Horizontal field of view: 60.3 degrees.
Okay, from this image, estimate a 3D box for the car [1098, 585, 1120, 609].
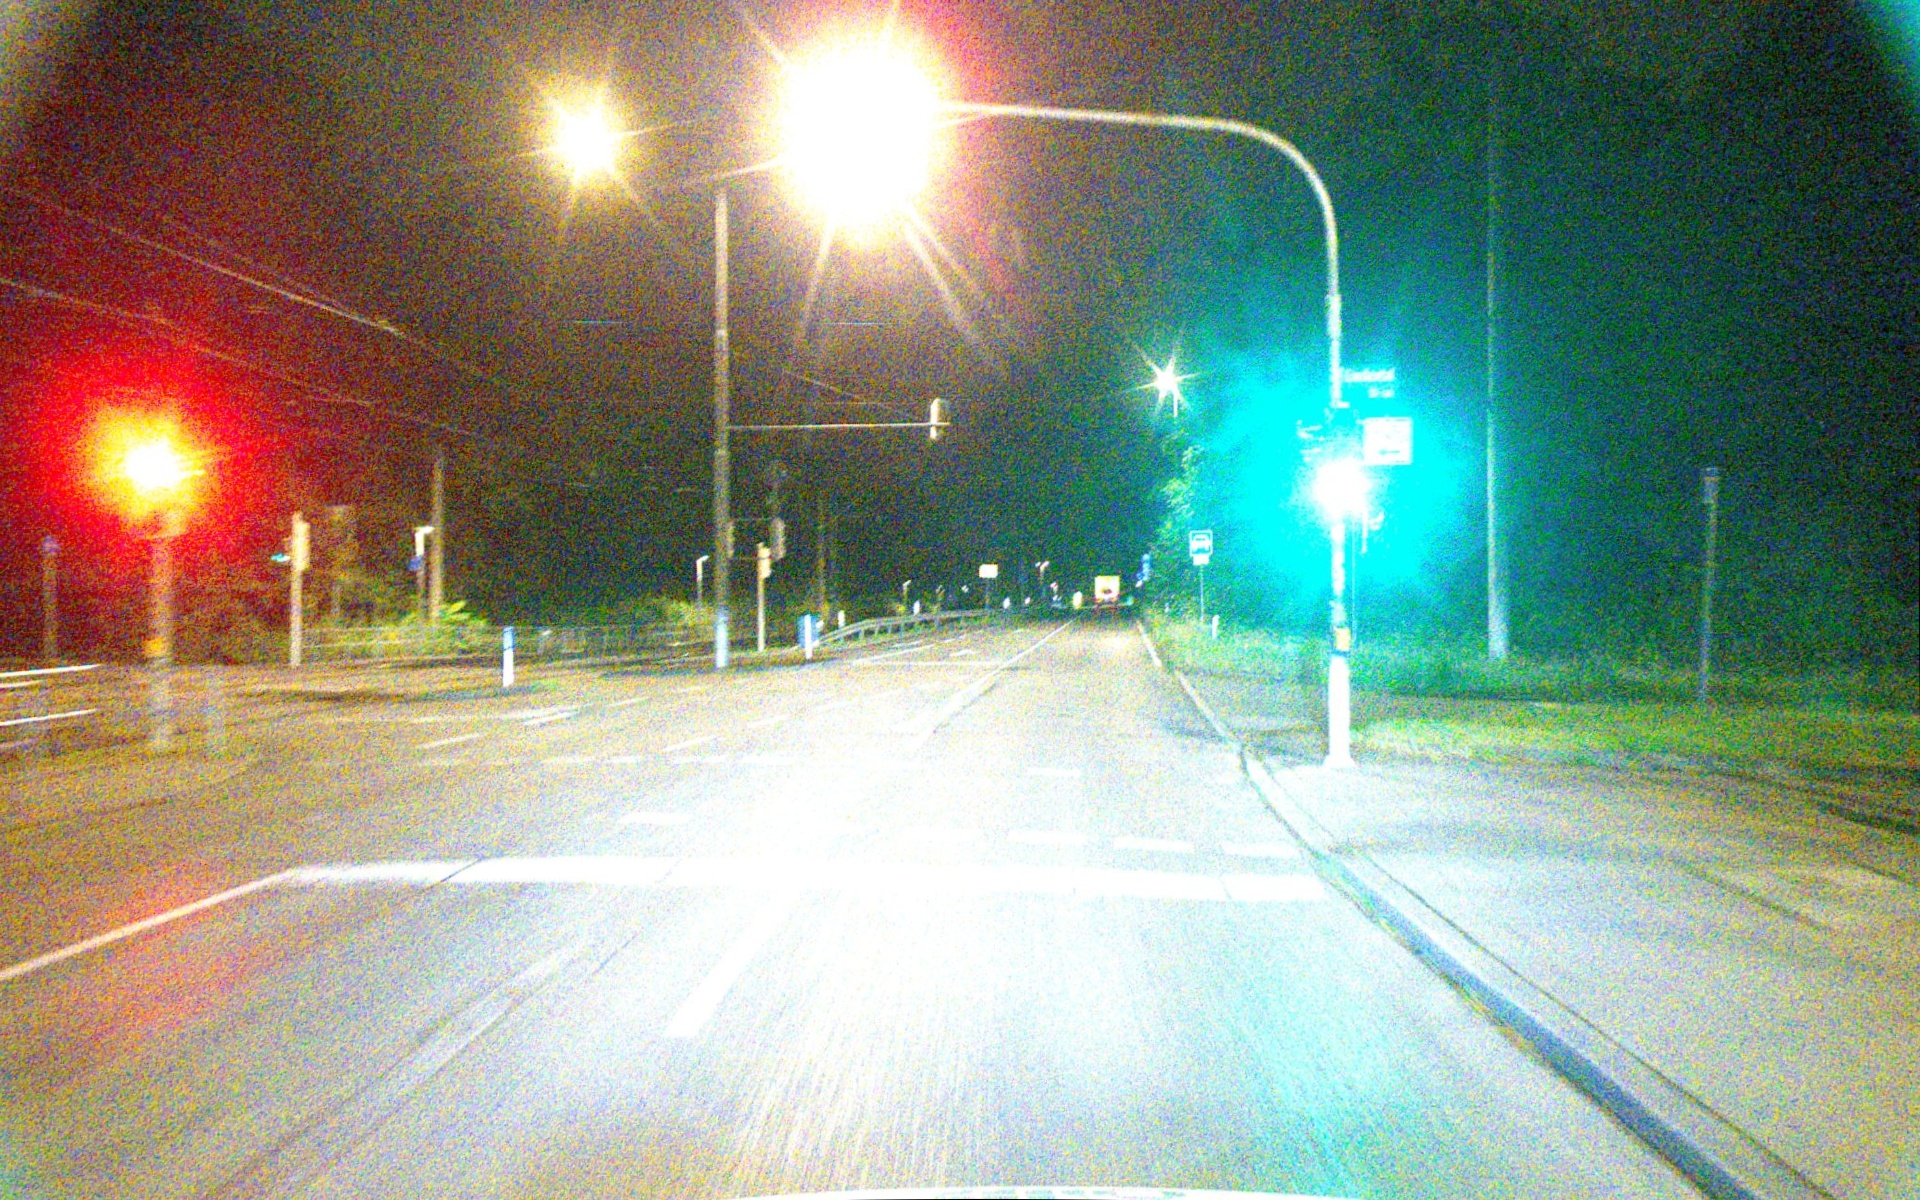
[{"bbox_3d":[13.744,-0.253,152.861,1.951,2.049,4.001,0,-2,5],"label":"car"}]
